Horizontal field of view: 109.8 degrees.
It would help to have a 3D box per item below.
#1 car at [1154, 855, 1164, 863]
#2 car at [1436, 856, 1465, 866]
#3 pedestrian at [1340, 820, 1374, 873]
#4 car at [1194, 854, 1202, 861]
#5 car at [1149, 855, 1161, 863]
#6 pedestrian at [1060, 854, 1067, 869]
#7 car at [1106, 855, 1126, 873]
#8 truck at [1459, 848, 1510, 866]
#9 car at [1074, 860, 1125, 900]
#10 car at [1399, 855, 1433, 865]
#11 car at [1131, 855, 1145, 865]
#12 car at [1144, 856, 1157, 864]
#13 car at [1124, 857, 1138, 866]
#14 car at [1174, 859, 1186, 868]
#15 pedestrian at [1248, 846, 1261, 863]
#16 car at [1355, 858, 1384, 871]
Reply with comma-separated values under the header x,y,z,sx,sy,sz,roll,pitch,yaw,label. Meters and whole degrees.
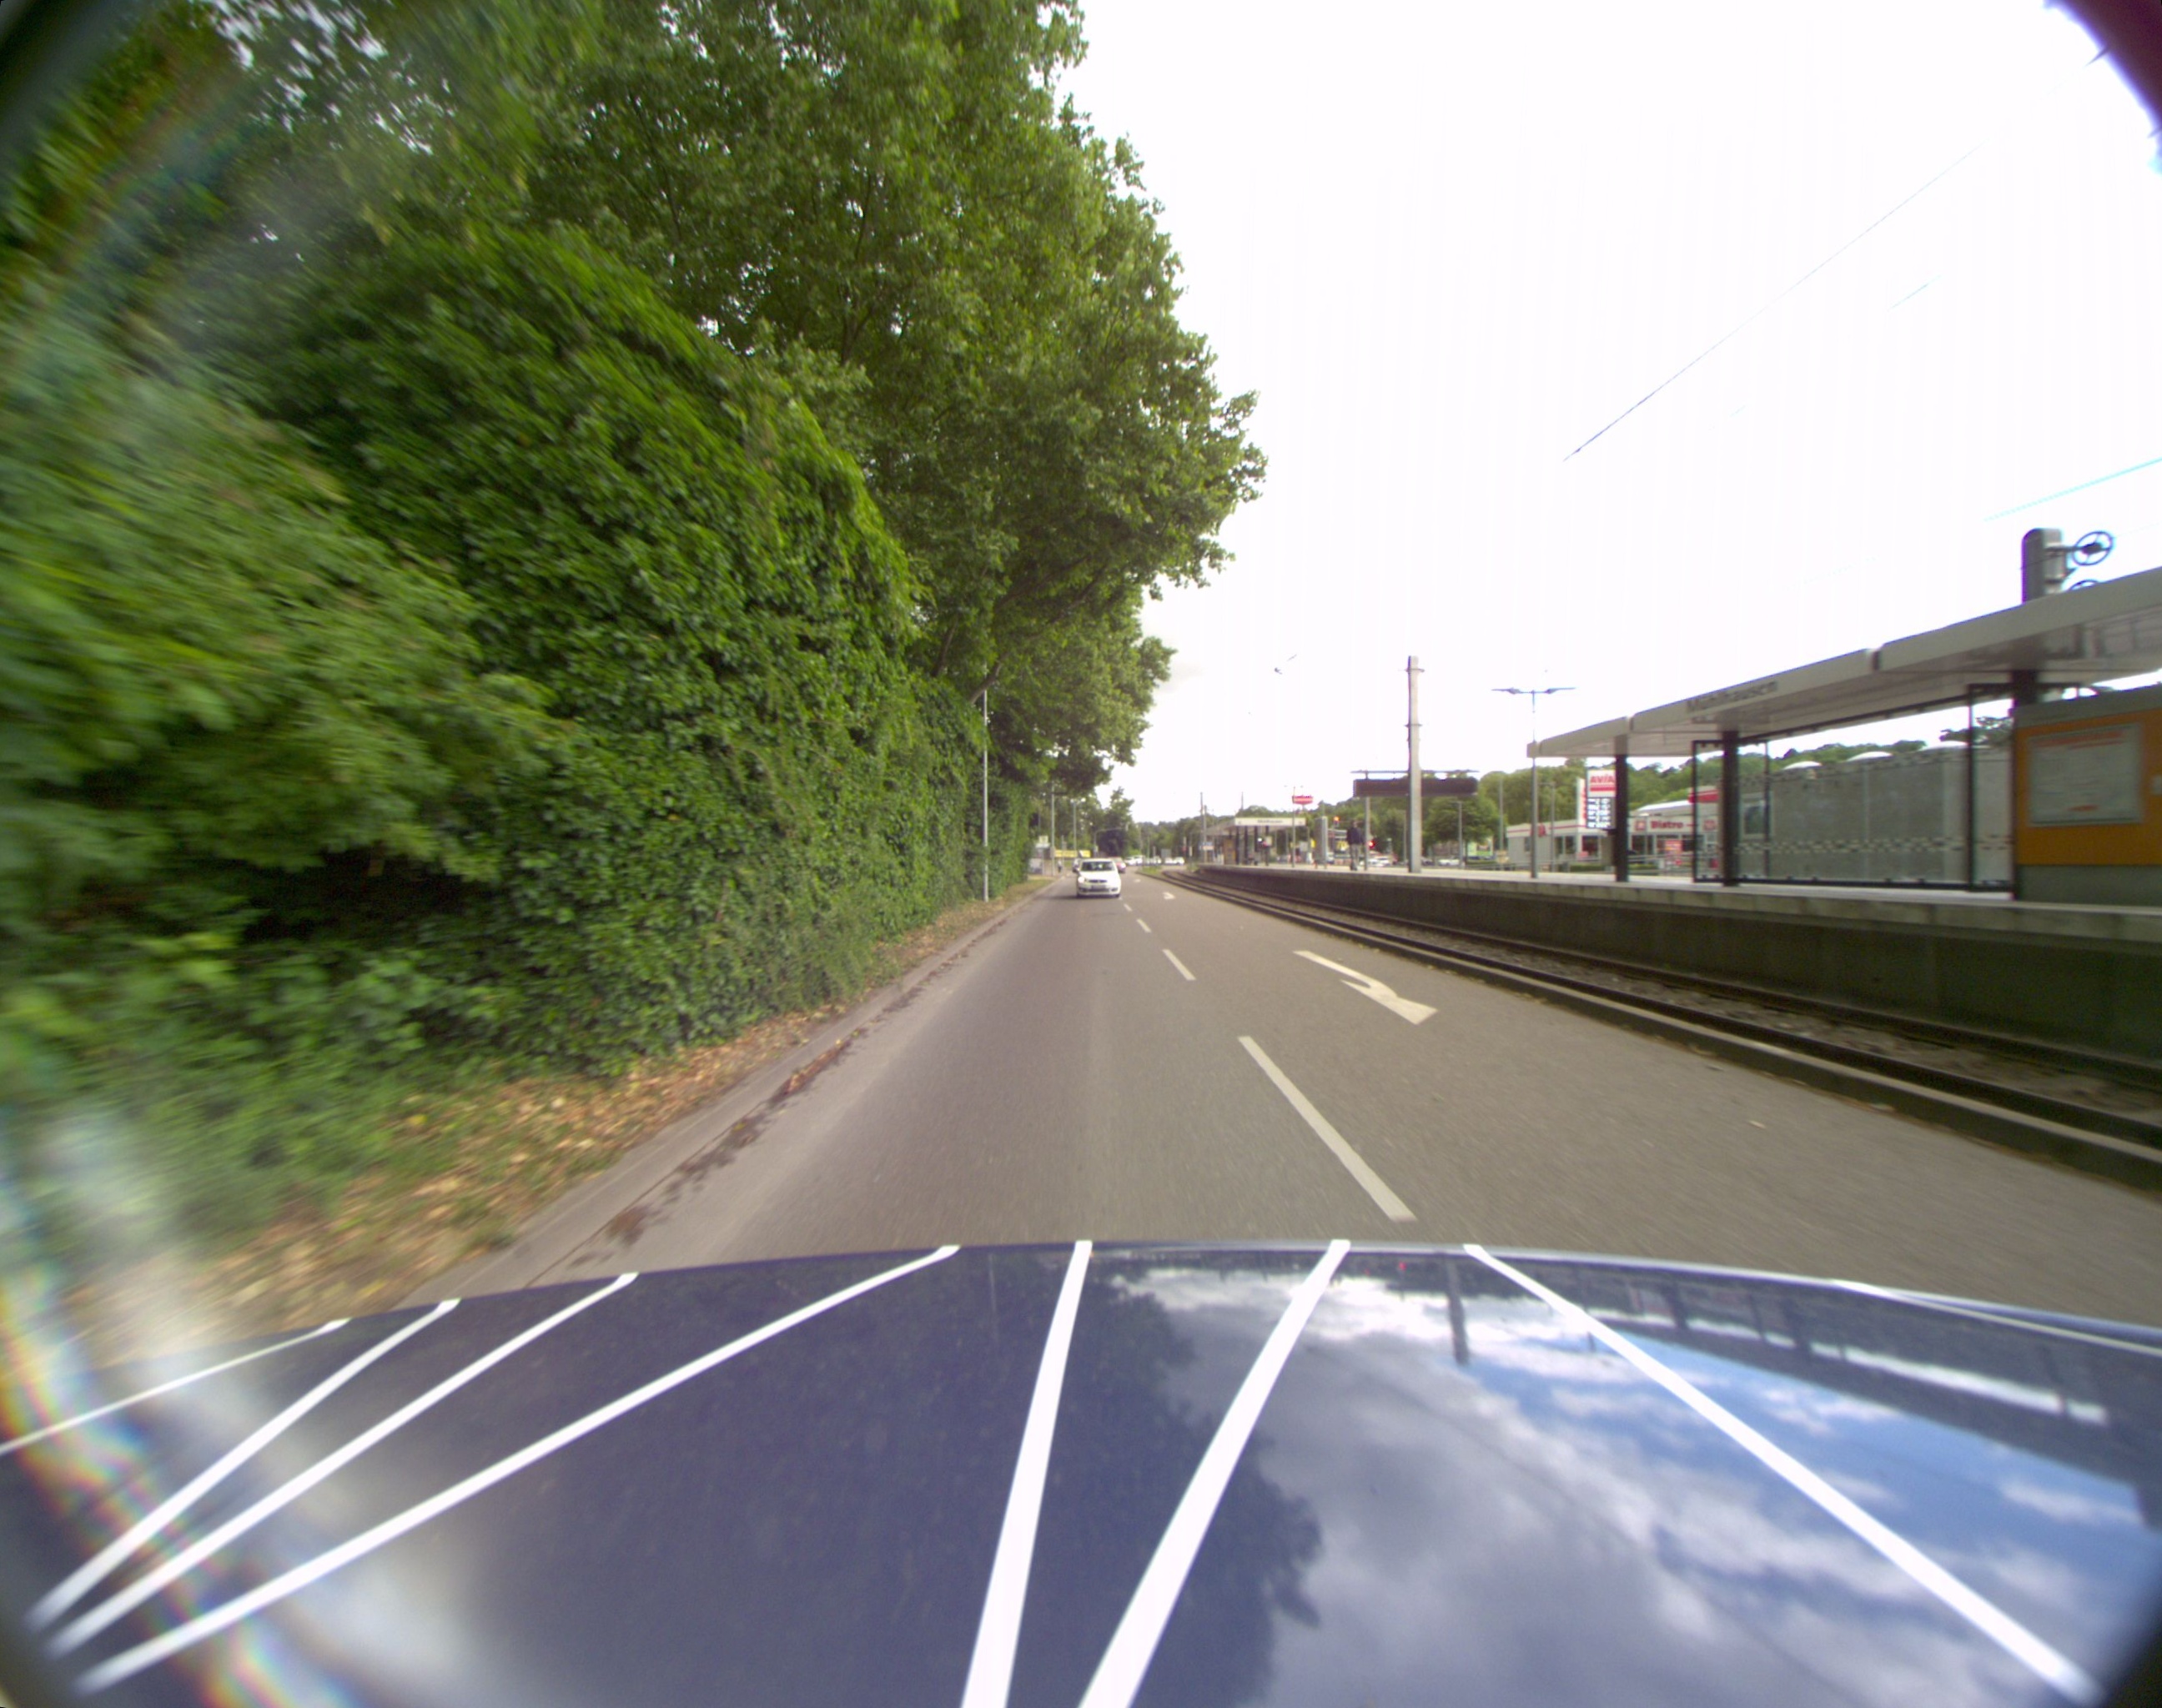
x,y,z,sx,sy,sz,roll,pitch,yaw,label
16.396,1.095,159.133,1.829,1.543,4.003,1,0,10,car
56.712,1.075,116.703,3.637,1.545,1.728,1,0,4,car
9.253,-0.255,25.493,0.750,1.734,0.937,1,1,1,pedestrian
37.776,1.136,245.953,1.998,2.002,4.000,1,0,1,car
14.676,1.079,151.074,1.829,1.543,4.004,1,0,12,car
-1.814,0.809,79.414,0.755,1.505,0.671,1,1,1,pedestrian
3.424,0.955,73.829,1.895,1.607,4.509,0,0,4,car
56.130,0.422,105.744,5.820,2.479,2.387,0,0,3,truck
0.658,0.972,29.472,1.674,1.439,3.603,0,0,-4,car
49.986,0.895,113.339,4.419,1.423,1.794,0,0,-11,car
10.269,1.085,136.201,1.807,1.814,4.004,-1,0,13,car
13.325,1.091,145.371,1.996,1.527,4.004,1,0,14,car
8.599,1.296,130.641,1.718,1.410,4.004,1,0,12,car
18.505,1.737,142.214,1.965,1.543,4.003,1,0,10,car
12.070,0.057,52.892,0.771,1.182,0.728,0,0,5,pedestrian
29.426,1.068,77.566,1.617,1.342,4.031,0,0,2,car
